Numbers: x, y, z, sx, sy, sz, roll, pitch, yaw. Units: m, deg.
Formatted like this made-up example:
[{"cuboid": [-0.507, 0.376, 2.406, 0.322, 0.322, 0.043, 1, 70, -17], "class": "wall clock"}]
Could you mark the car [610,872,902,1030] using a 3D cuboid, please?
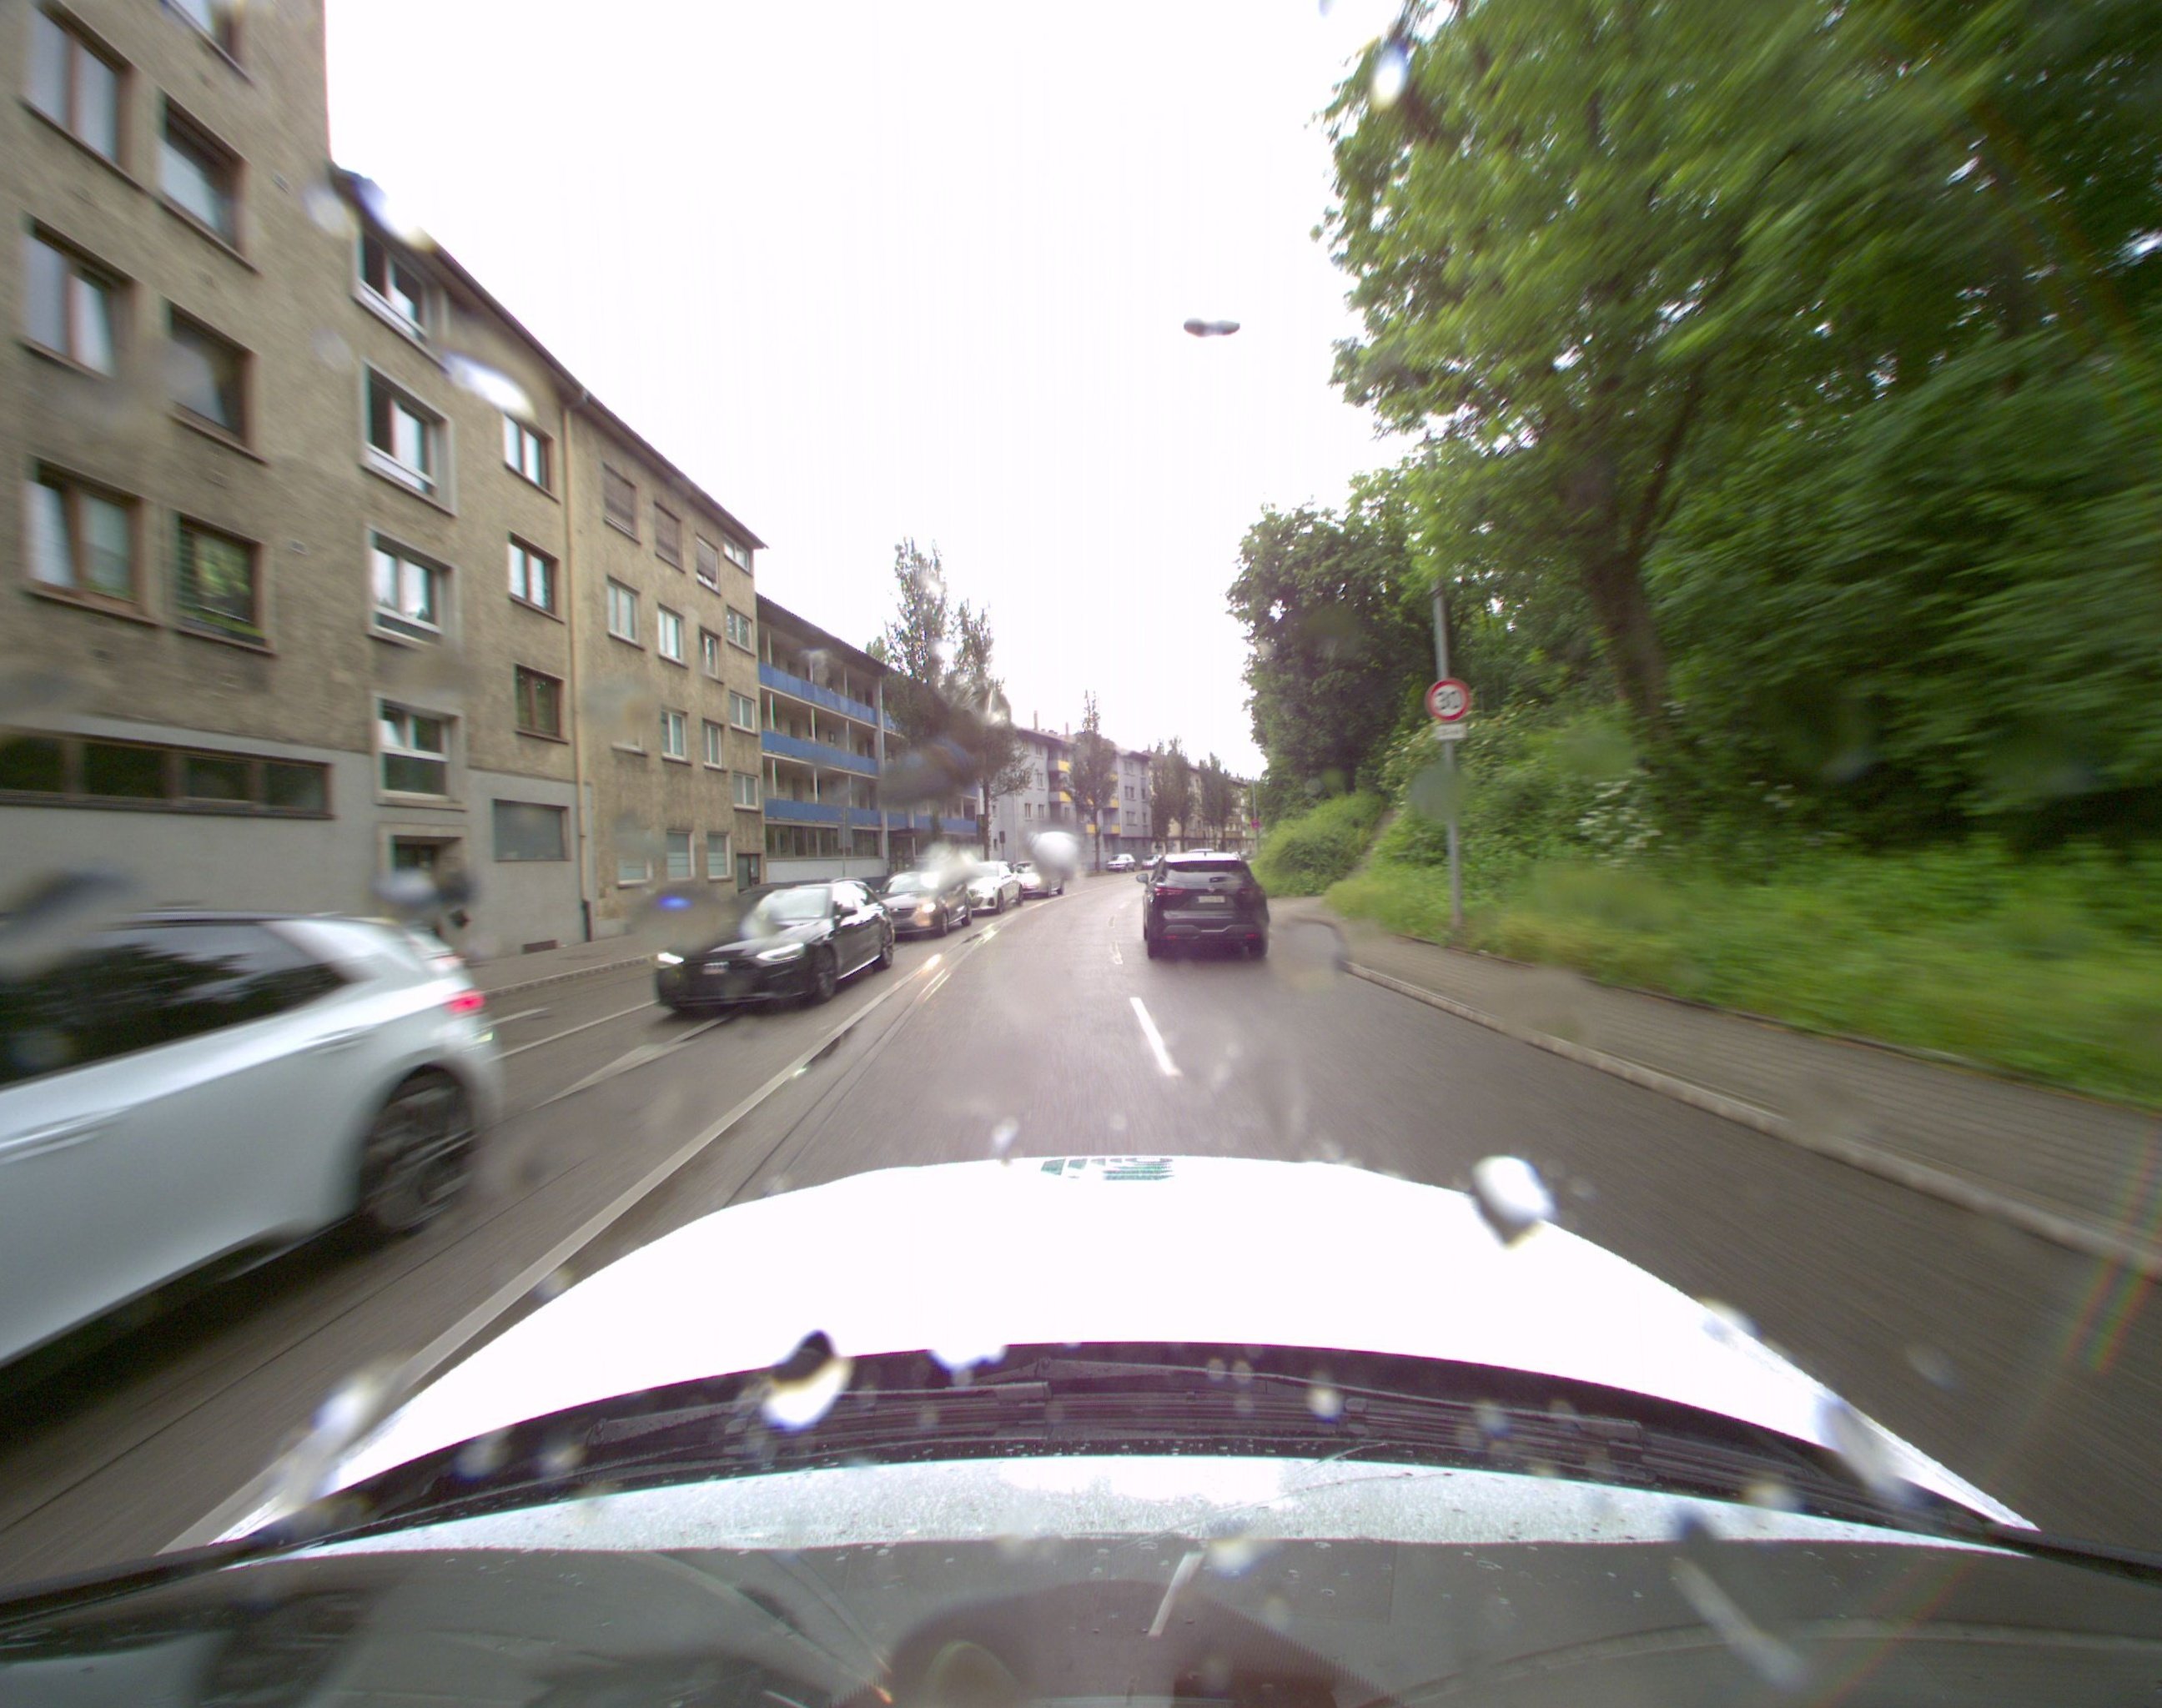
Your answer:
[{"cuboid": [-3.819, 1.034, 10.591, 1.784, 1.407, 4.626, -3, 0, 1], "class": "car"}]

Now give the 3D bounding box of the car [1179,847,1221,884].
[{"cuboid": [6.122, 0.547, 41.655, 1.875, 1.711, 4.013, -2, 0, 11], "class": "car"}]

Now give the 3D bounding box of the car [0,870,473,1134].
[{"cuboid": [-7.165, 0.955, 6.465, 1.653, 1.455, 3.997, -4, 0, -2], "class": "car"}]

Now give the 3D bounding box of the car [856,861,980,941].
[{"cuboid": [-3.496, 0.967, 18.177, 1.672, 1.447, 3.824, -4, 0, 4], "class": "car"}]

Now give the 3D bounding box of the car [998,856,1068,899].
[{"cuboid": [-1.784, 0.874, 31.800, 1.742, 1.425, 4.548, -3, 0, 9], "class": "car"}]

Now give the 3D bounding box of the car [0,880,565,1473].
[{"cuboid": [-3.794, 0.952, 2.428, 1.780, 1.496, 4.214, -4, 0, -1], "class": "car"}]

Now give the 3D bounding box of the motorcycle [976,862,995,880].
[{"cuboid": [-6.874, 1.232, 58.668, 0.670, 1.254, 2.244, -1, 0, 12], "class": "motorcycle"}]

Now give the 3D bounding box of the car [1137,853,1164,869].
[{"cuboid": [7.020, 0.647, 81.717, 1.710, 1.453, 4.225, -4, -1, 19], "class": "car"}]

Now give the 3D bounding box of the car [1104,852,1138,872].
[{"cuboid": [3.554, 0.677, 71.545, 1.749, 1.604, 4.555, -4, 0, 18], "class": "car"}]

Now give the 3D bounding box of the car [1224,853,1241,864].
[{"cuboid": [22.151, 0.621, 119.057, 1.611, 1.387, 4.011, -4, 0, 23], "class": "car"}]

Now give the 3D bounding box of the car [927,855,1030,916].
[{"cuboid": [-2.941, 0.862, 24.630, 1.810, 1.516, 5.038, -4, 0, 7], "class": "car"}]

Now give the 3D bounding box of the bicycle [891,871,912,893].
[{"cuboid": [-8.944, 1.382, 40.567, 0.610, 1.023, 1.733, -3, 0, 0], "class": "bicycle"}]

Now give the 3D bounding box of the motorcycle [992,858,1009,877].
[{"cuboid": [-6.206, 0.992, 62.820, 0.671, 1.414, 2.242, 0, 0, 10], "class": "motorcycle"}]

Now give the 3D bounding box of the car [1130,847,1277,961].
[{"cuboid": [1.886, 0.701, 13.722, 1.839, 1.582, 4.000, -2, 0, 0], "class": "car"}]

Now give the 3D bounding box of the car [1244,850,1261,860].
[{"cuboid": [28.131, 0.112, 133.469, 1.703, 1.488, 4.540, -5, -1, 23], "class": "car"}]

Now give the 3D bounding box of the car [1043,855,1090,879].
[{"cuboid": [-0.975, 0.898, 57.645, 1.806, 1.439, 4.914, -5, -1, 17], "class": "car"}]
